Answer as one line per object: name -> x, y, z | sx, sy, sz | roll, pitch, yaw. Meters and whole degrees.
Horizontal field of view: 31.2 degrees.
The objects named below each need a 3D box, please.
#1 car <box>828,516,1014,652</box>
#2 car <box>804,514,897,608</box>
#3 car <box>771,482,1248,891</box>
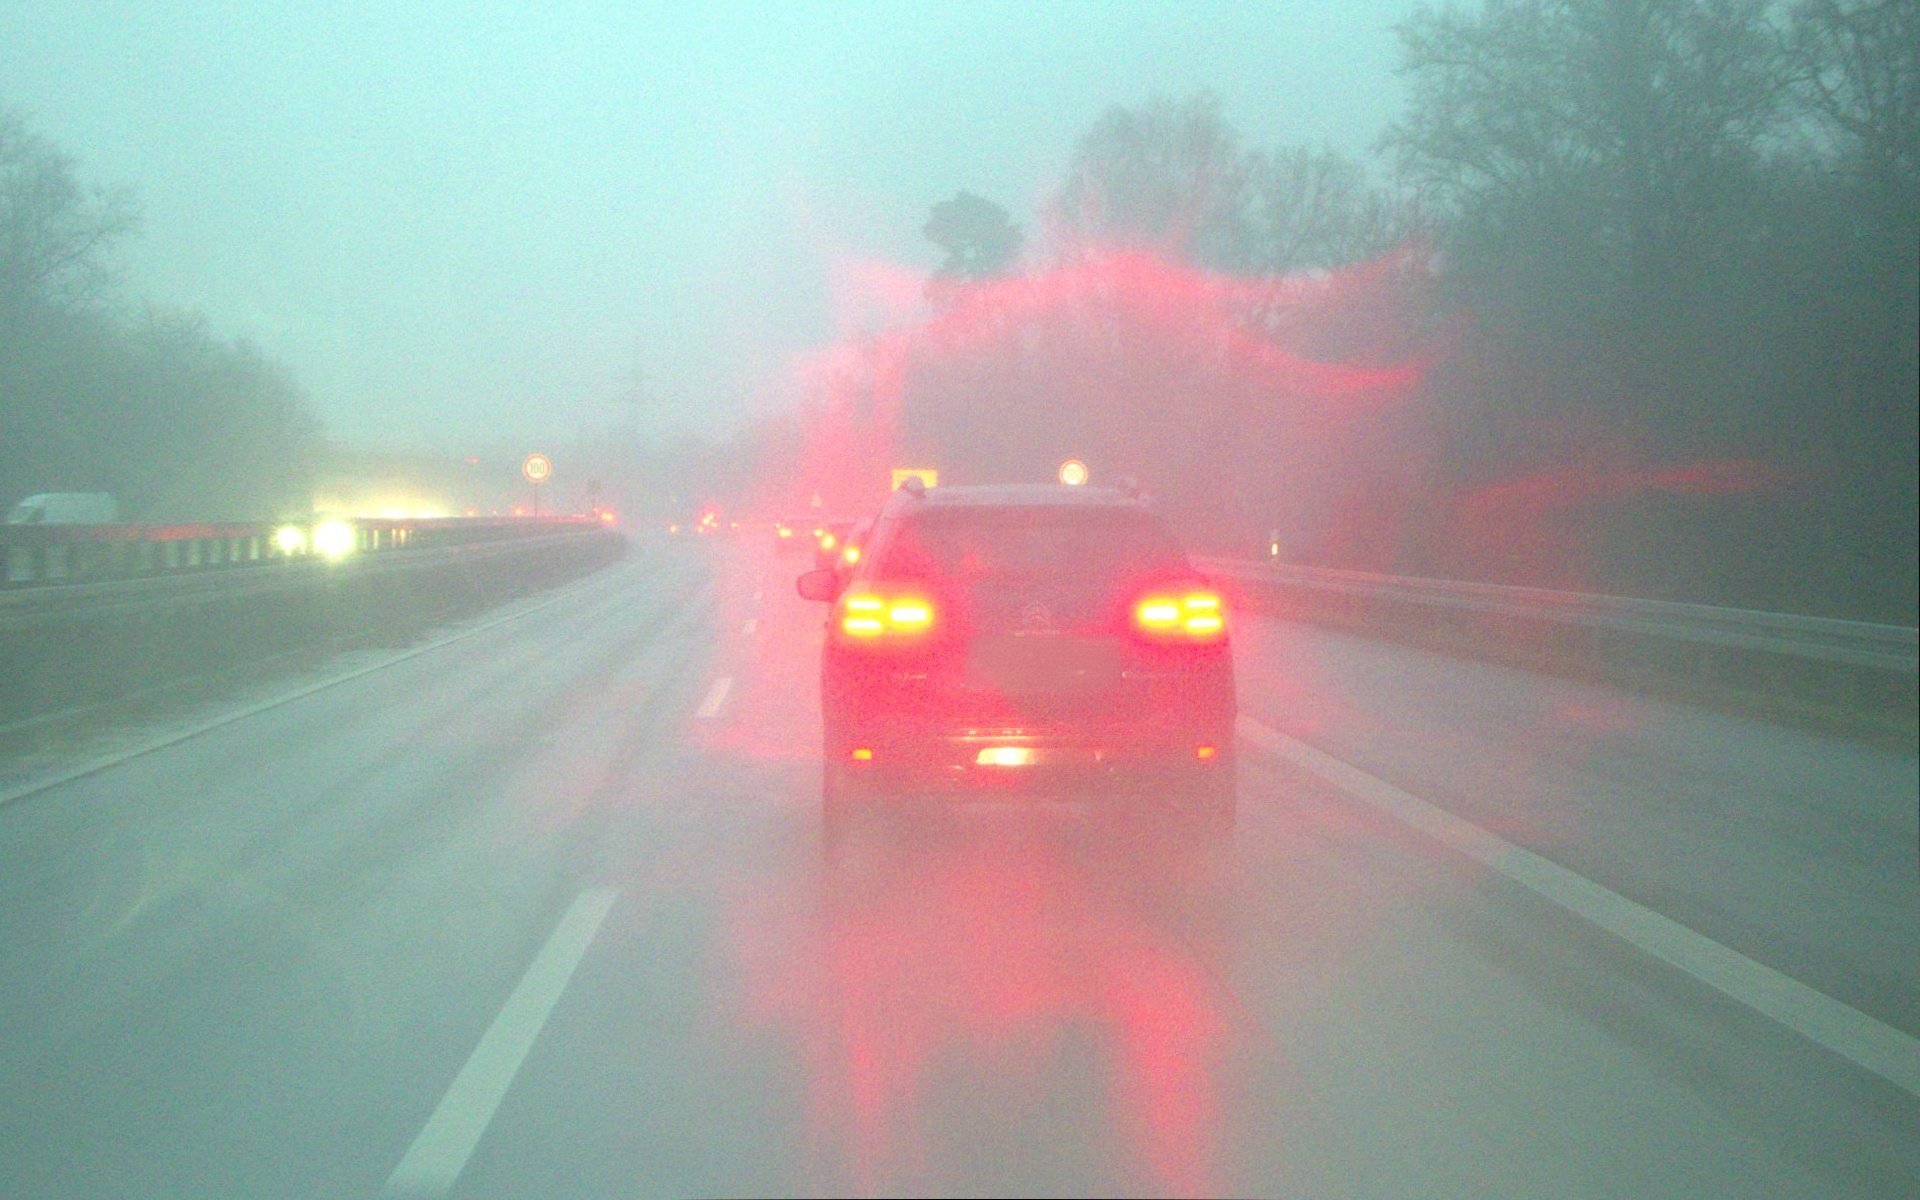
car -> -0.429, -0.204, 39.646 | 1.993, 1.415, 4.000 | 2, 1, 0
car -> -2.402, -0.876, 75.600 | 1.993, 2.007, 4.001 | 0, 1, -2
car -> 0.123, 0.327, 16.326 | 1.992, 1.709, 3.830 | 0, 1, -3
